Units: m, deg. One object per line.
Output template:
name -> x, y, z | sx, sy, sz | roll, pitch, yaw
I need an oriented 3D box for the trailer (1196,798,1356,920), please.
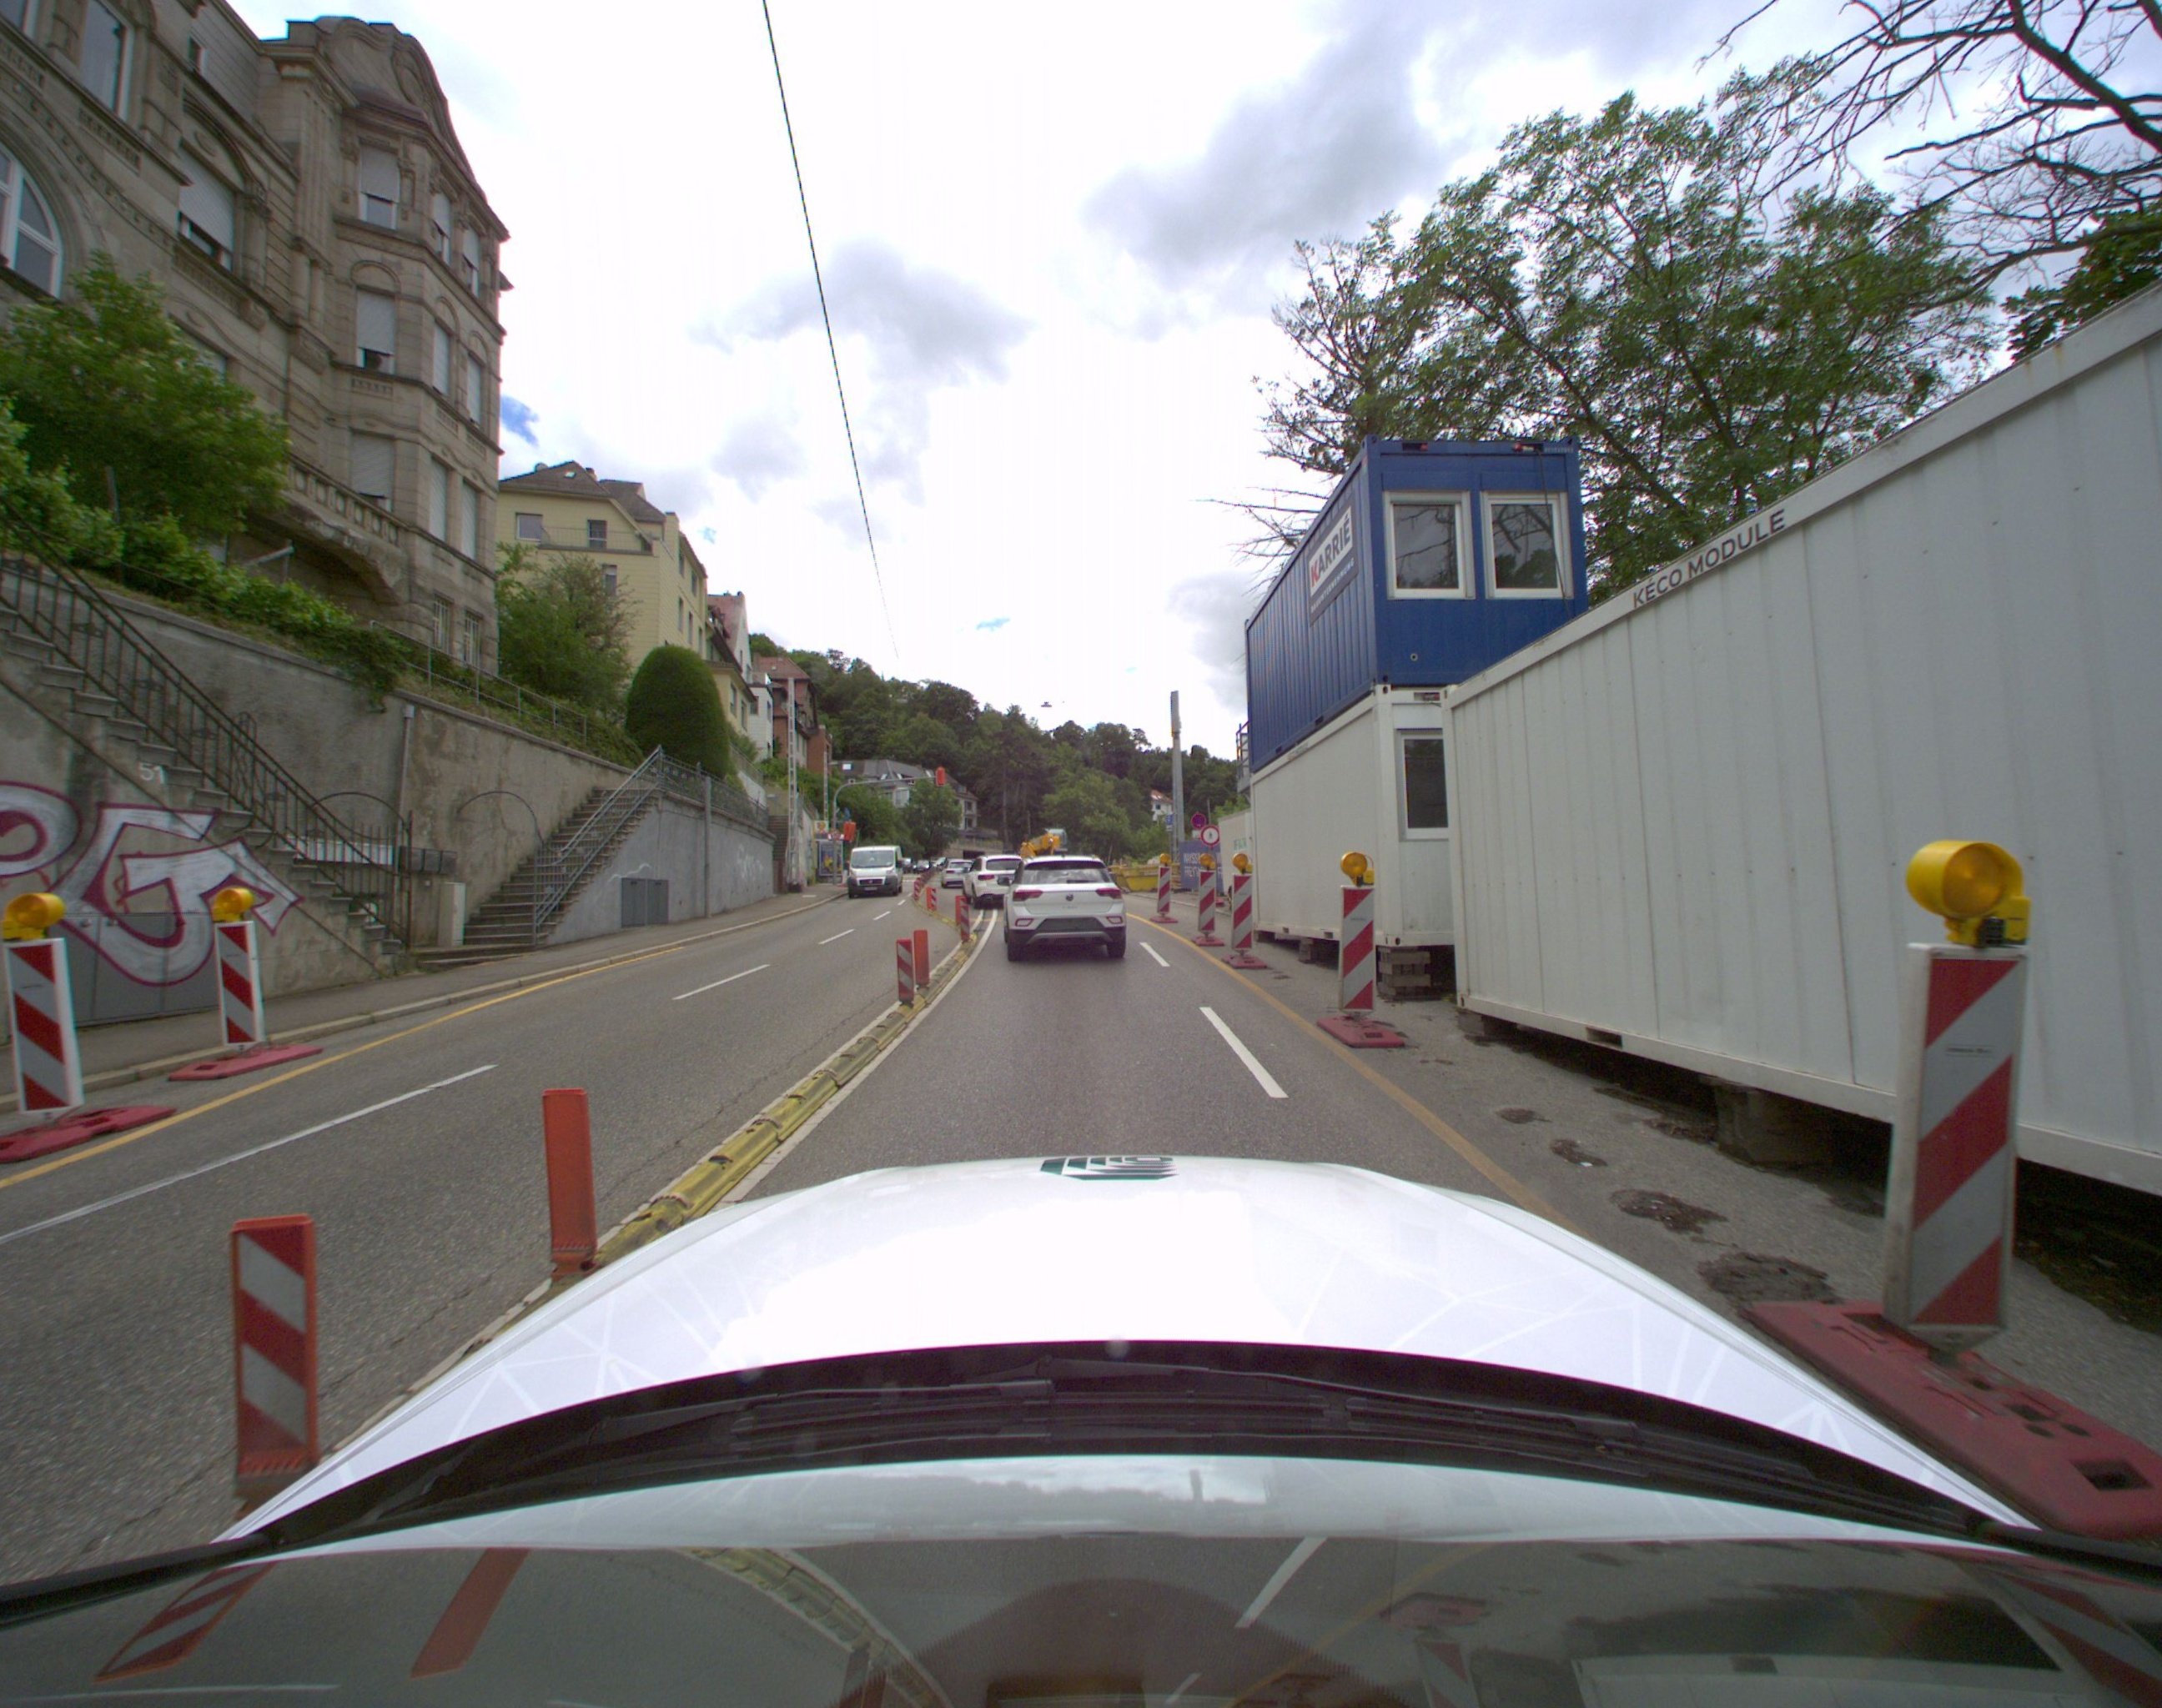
trailer -> 4.599, 0.112, 20.183 | 2.105, 2.550, 5.107 | -3, 0, -7

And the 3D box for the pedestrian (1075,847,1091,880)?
pedestrian -> 0.119, 0.499, 44.632 | 0.692, 1.795, 0.535 | -1, 0, -23

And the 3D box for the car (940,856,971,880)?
car -> -8.568, 0.947, 55.239 | 1.796, 1.510, 3.983 | -2, 0, -12

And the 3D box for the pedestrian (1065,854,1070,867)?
pedestrian -> -2.024, 0.917, 121.207 | 0.688, 1.906, 0.825 | -1, 0, 0

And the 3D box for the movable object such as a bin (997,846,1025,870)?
movable object such as a bin -> -8.050, 0.449, 93.654 | 2.200, 2.663, 4.954 | 0, 0, 7

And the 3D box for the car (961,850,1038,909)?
car -> -2.697, 0.772, 26.131 | 1.813, 1.663, 3.980 | -2, 0, -15

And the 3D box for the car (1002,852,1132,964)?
car -> -0.355, 0.760, 13.447 | 1.807, 1.531, 3.993 | -1, 0, -5

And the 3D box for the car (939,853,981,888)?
car -> -6.356, 0.829, 42.457 | 1.812, 1.663, 3.982 | -2, 0, -13

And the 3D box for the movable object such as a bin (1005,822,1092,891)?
movable object such as a bin -> -1.797, 0.129, 40.715 | 2.816, 3.071, 7.784 | 0, 0, -14

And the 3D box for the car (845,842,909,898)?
car -> -8.961, 0.664, 36.188 | 2.066, 2.187, 4.949 | -3, 0, -8

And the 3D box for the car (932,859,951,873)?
car -> -16.542, 1.446, 96.738 | 1.838, 1.599, 4.257 | -1, 0, -4

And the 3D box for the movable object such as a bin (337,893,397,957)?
movable object such as a bin -> -10.709, 1.051, 12.225 | 0.452, 0.911, 0.507 | -1, 0, -1

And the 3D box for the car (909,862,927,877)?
car -> -16.681, 1.558, 83.426 | 1.672, 1.430, 3.574 | -2, 0, -10
